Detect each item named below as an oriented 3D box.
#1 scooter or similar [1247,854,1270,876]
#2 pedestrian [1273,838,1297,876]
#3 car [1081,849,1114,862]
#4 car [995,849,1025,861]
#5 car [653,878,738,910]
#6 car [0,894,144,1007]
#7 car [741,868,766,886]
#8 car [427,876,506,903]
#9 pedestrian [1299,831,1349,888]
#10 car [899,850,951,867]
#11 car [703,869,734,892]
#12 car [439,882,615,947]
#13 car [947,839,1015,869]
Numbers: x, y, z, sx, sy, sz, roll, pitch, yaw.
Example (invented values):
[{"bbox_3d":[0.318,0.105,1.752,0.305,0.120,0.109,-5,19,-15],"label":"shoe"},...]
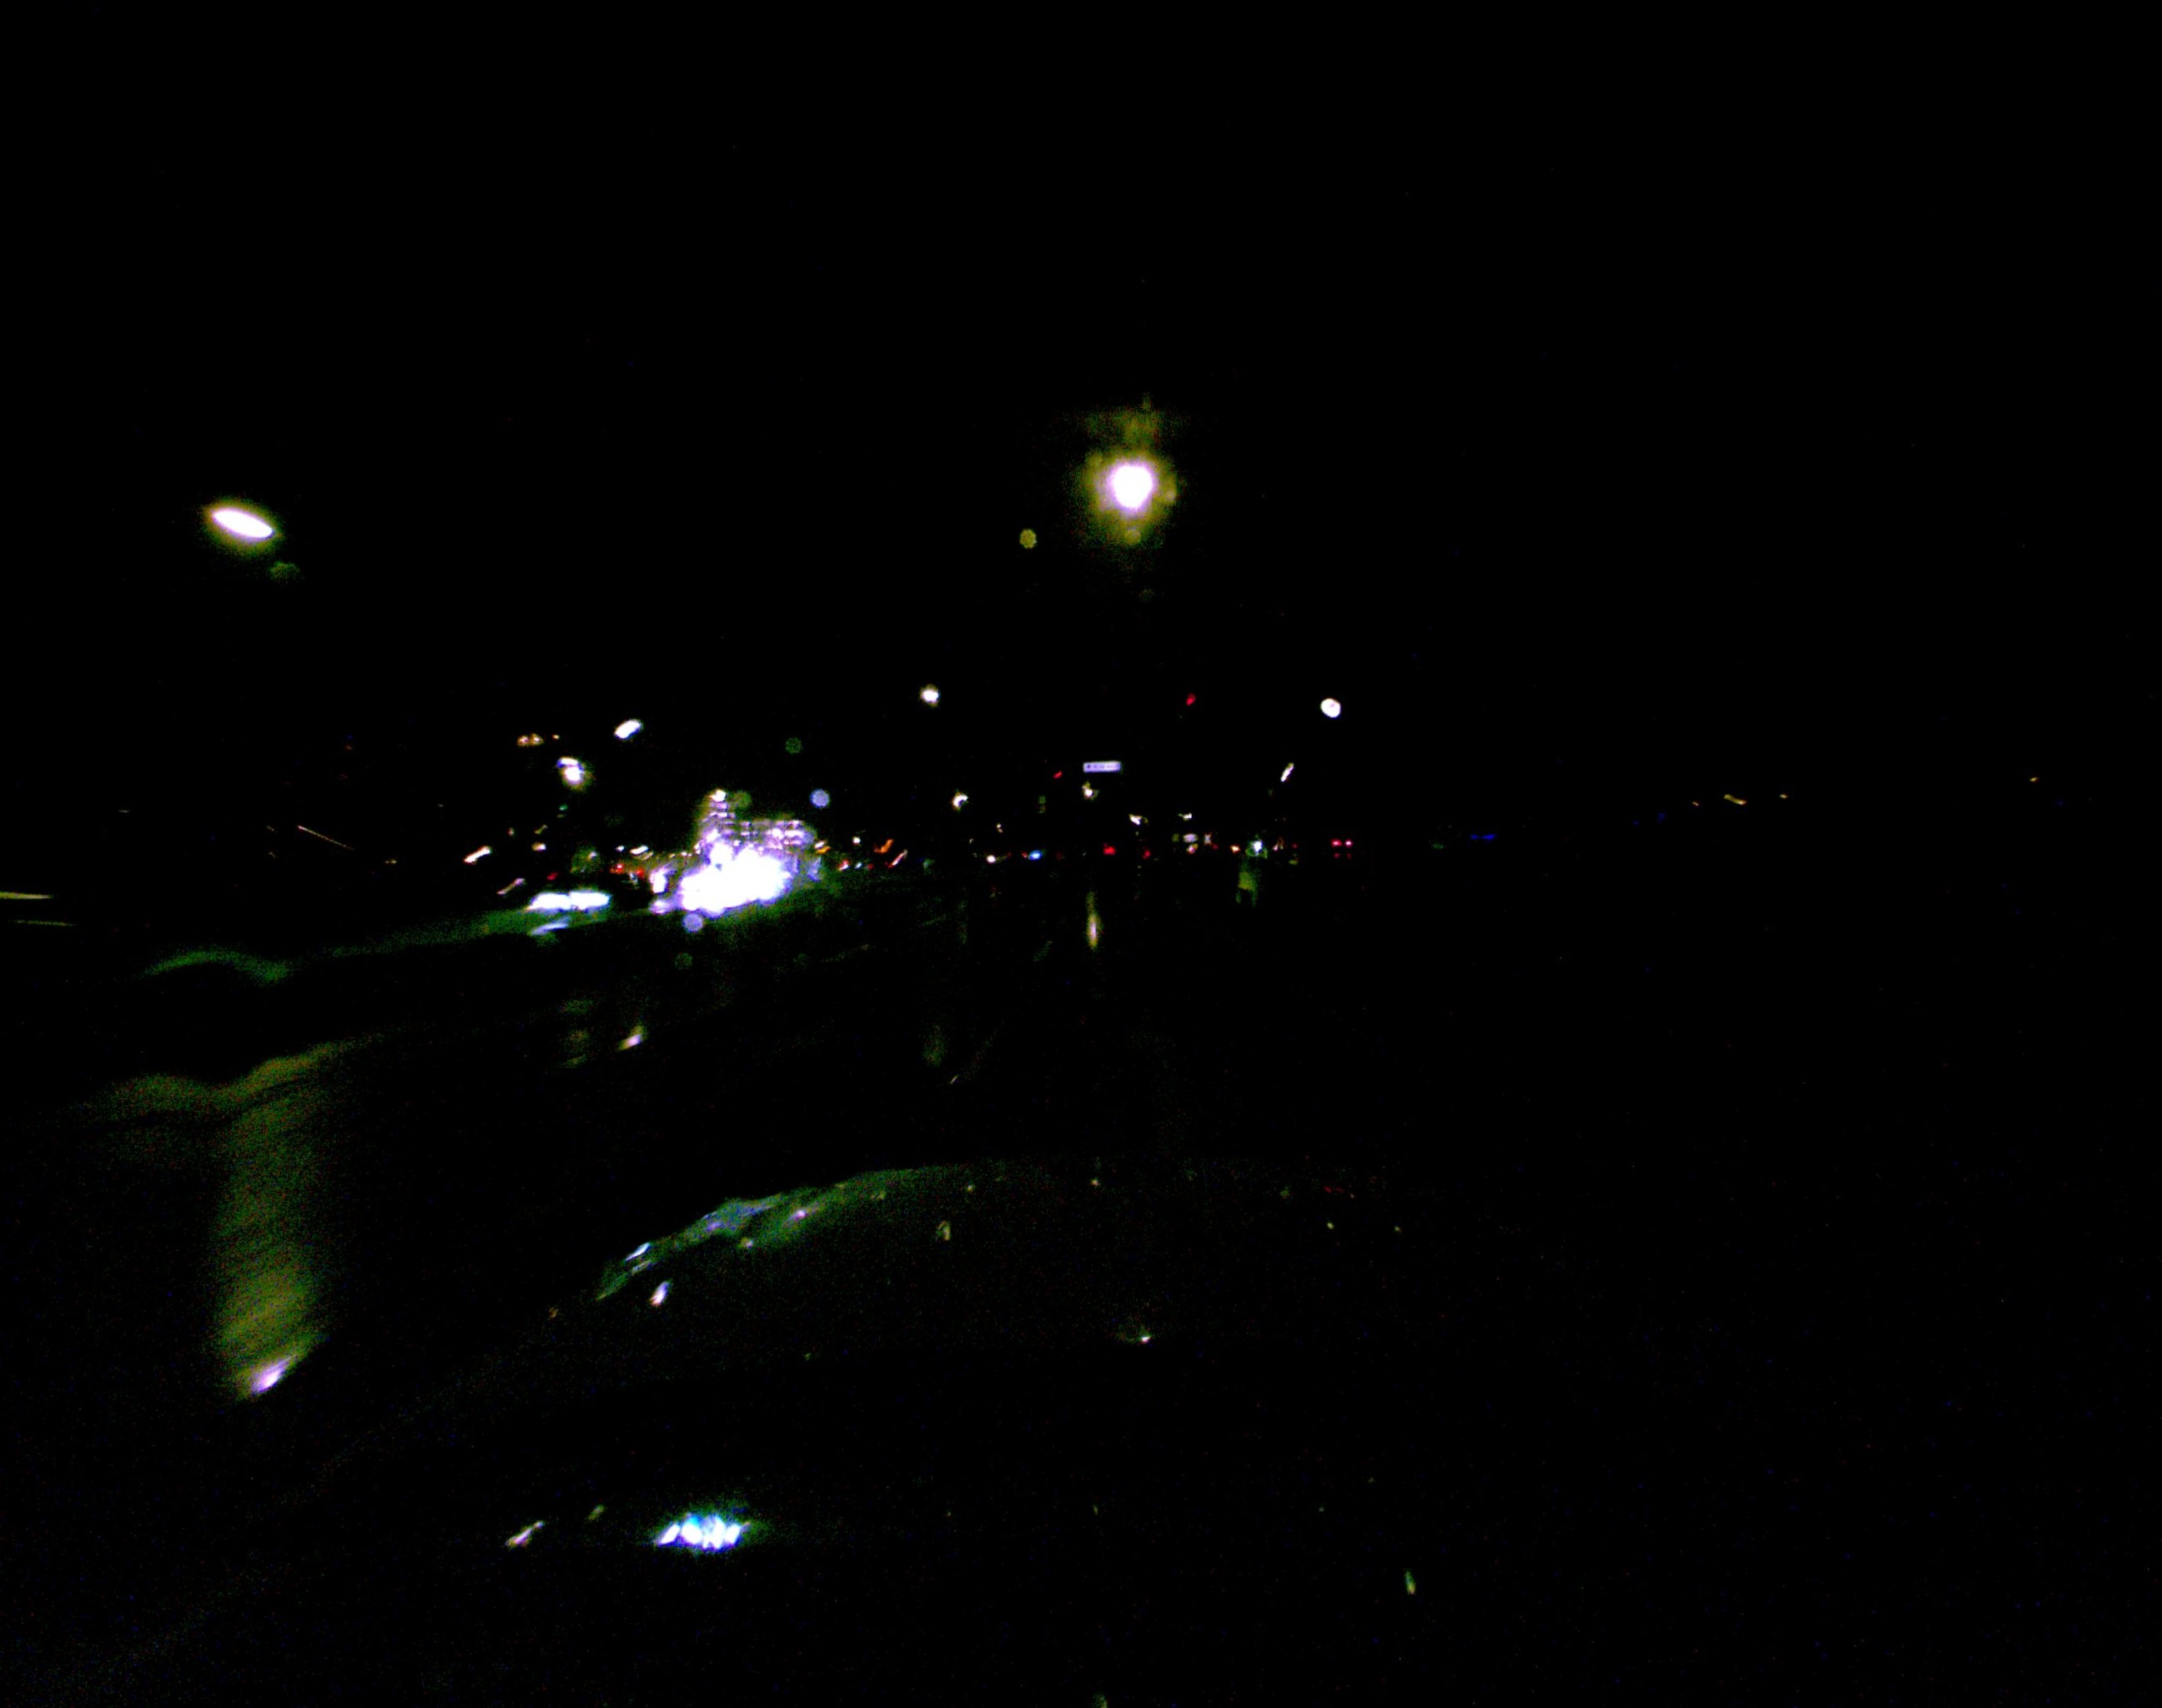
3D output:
[{"bbox_3d":[9.214,0.584,42.241,1.090,1.097,0.320,-3,-1,30],"label":"scooter or similar"},{"bbox_3d":[8.269,0.119,33.043,0.723,1.485,0.836,-1,0,1],"label":"pedestrian"},{"bbox_3d":[2.137,0.198,107.262,3.949,1.616,1.848,-1,0,27],"label":"car"},{"bbox_3d":[-9.489,0.102,108.996,3.939,1.578,1.737,-1,0,-1],"label":"car"},{"bbox_3d":[-20.772,2.135,44.205,1.987,1.402,5.350,-1,0,0],"label":"car"},{"bbox_3d":[-15.888,1.404,11.001,1.823,1.464,3.999,-1,0,-1],"label":"car"},{"bbox_3d":[-34.369,2.399,85.555,2.062,1.732,5.099,-1,0,-18],"label":"car"},{"bbox_3d":[-41.393,2.386,54.877,4.023,1.574,1.738,-1,0,-45],"label":"car"},{"bbox_3d":[7.939,0.158,26.685,1.223,1.794,1.490,-1,0,1],"label":"pedestrian"},{"bbox_3d":[-20.623,0.528,107.441,6.321,2.089,2.496,-1,0,-23],"label":"car"},{"bbox_3d":[-30.143,2.188,67.768,2.071,1.715,5.004,-1,0,-21],"label":"car"},{"bbox_3d":[-15.595,1.641,23.296,1.823,1.464,4.659,-1,0,0],"label":"car"},{"bbox_3d":[-7.233,-0.014,59.228,4.521,2.013,2.003,-1,0,5],"label":"car"}]
